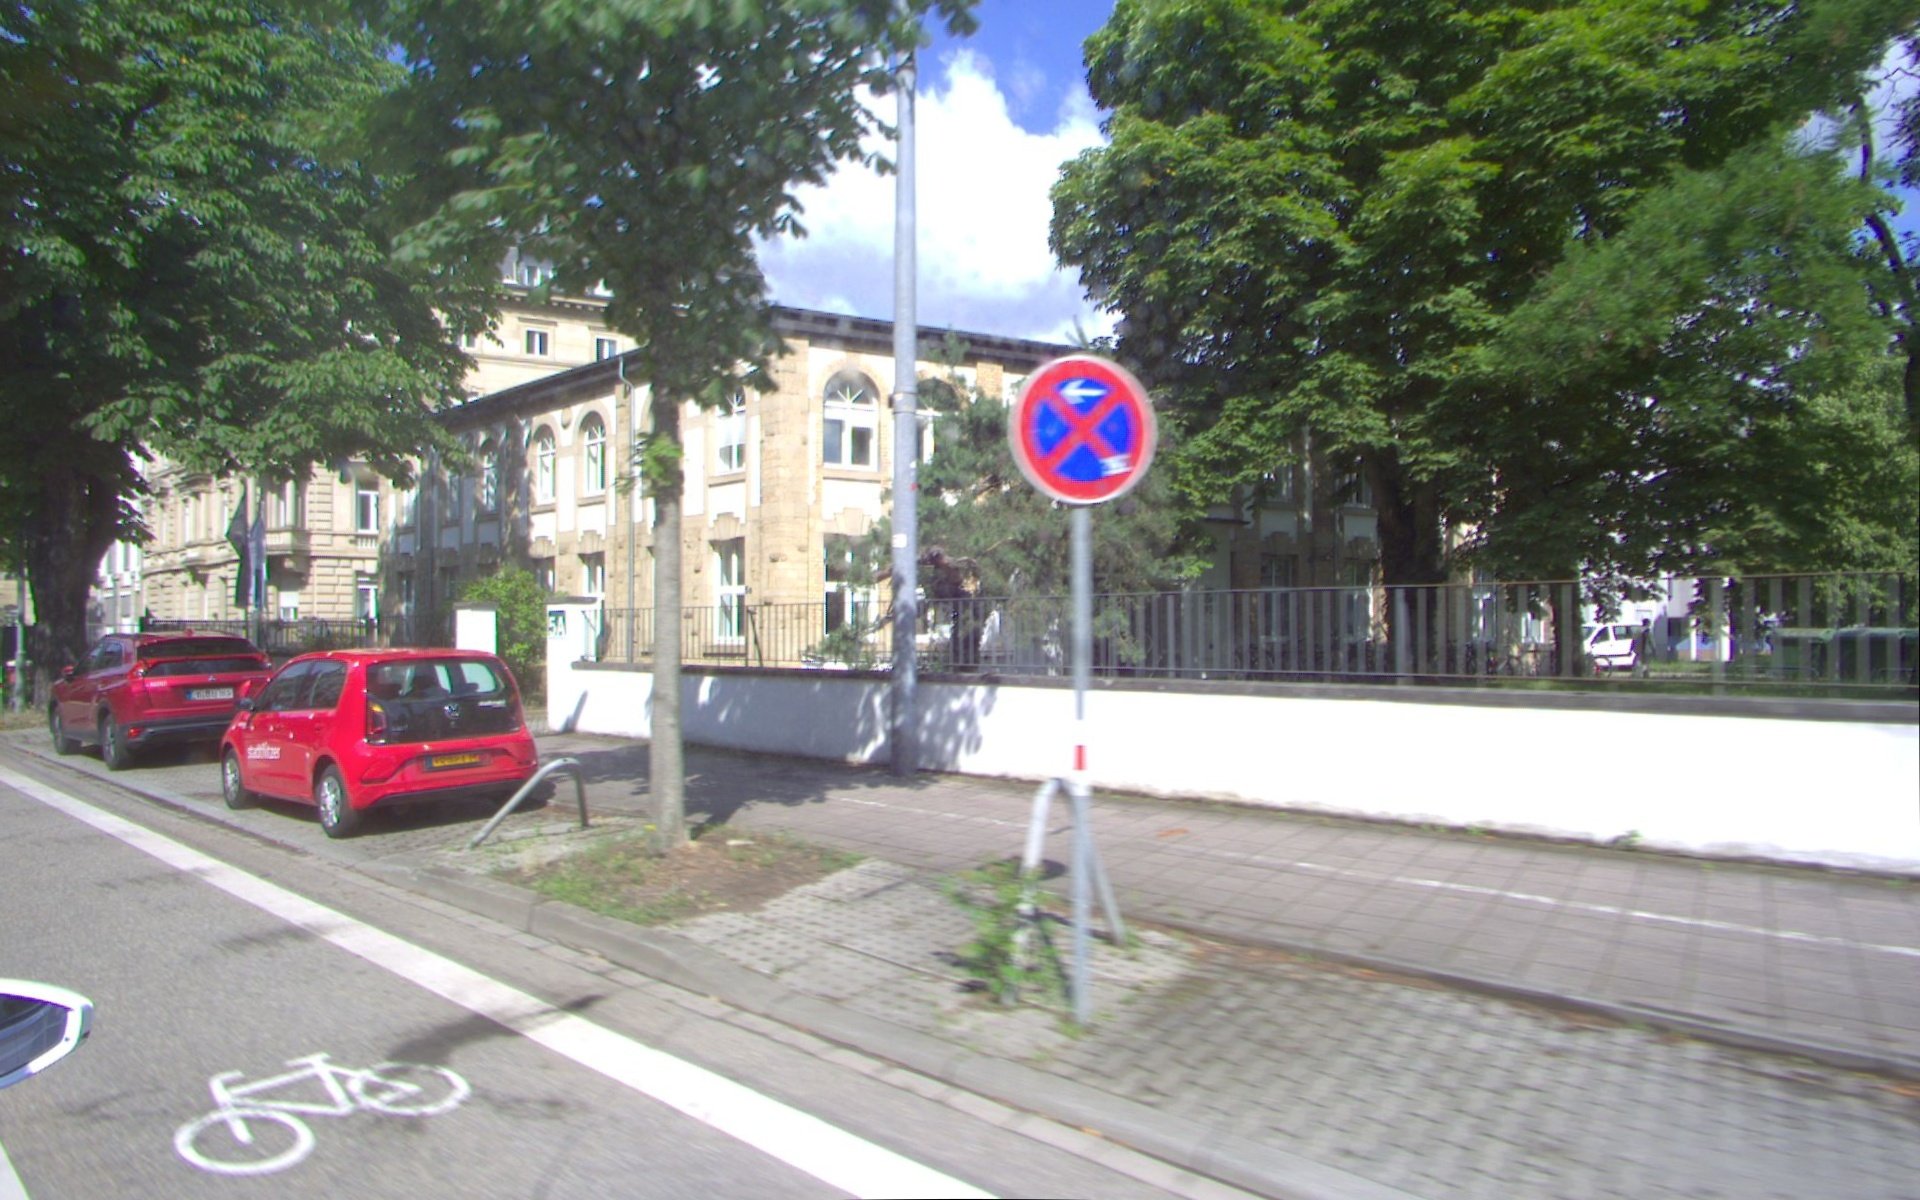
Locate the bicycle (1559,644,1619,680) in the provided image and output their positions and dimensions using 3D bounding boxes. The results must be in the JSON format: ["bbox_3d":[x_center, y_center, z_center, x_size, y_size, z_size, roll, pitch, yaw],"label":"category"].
[{"bbox_3d":[18.168,1.779,28.944,0.420,1.000,1.453,2,-2,-24],"label":"bicycle"}]

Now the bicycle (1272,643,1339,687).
[{"bbox_3d":[8.507,1.598,24.733,0.420,1.000,1.814,2,-2,-24],"label":"bicycle"}]

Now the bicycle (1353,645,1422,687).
[{"bbox_3d":[11.004,1.673,25.813,0.420,1.000,1.814,2,-2,-24],"label":"bicycle"}]

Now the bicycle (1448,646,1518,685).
[{"bbox_3d":[14.279,1.780,27.386,0.420,1.000,1.814,2,-2,-24],"label":"bicycle"}]

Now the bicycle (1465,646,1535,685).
[{"bbox_3d":[14.910,1.809,27.714,0.420,1.000,1.814,2,-2,-24],"label":"bicycle"}]

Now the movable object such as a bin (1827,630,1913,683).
[{"bbox_3d":[22.078,1.354,24.303,1.013,1.236,1.269,0,-1,-27],"label":"movable object such as a bin"}]

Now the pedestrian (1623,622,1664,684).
[{"bbox_3d":[18.261,1.411,26.758,0.845,1.644,0.567,1,-1,-27],"label":"pedestrian"}]

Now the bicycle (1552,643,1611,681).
[{"bbox_3d":[17.711,1.759,28.570,0.420,1.000,1.454,2,-2,-23],"label":"bicycle"}]

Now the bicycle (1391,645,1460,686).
[{"bbox_3d":[12.295,1.719,26.501,0.420,1.000,1.814,2,-2,-24],"label":"bicycle"}]

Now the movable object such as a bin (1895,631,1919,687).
[{"bbox_3d":[22.541,1.357,23.040,0.985,1.282,1.251,0,-1,-27],"label":"movable object such as a bin"}]

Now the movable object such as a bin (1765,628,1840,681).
[{"bbox_3d":[21.512,1.377,25.579,0.988,1.310,1.186,0,-1,-27],"label":"movable object such as a bin"}]

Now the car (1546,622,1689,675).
[{"bbox_3d":[25.806,1.871,39.299,5.005,1.888,2.033,1,2,-20],"label":"car"}]

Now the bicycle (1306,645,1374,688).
[{"bbox_3d":[9.533,1.653,25.163,0.420,1.000,1.814,2,-2,-24],"label":"bicycle"}]

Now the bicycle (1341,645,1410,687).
[{"bbox_3d":[10.559,1.666,25.511,0.420,1.000,1.814,2,-2,-24],"label":"bicycle"}]

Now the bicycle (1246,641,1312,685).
[{"bbox_3d":[7.767,1.527,24.448,0.420,1.000,1.814,2,-2,-24],"label":"bicycle"}]

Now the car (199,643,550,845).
[{"bbox_3d":[-5.508,1.165,9.284,3.552,1.447,1.593,-2,0,38],"label":"car"}]

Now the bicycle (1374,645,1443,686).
[{"bbox_3d":[11.673,1.692,26.117,0.420,1.000,1.814,2,-2,-24],"label":"bicycle"}]

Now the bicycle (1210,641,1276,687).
[{"bbox_3d":[6.721,1.511,23.851,0.420,1.000,1.814,2,-2,-24],"label":"bicycle"}]

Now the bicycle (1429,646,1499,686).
[{"bbox_3d":[13.560,1.756,26.978,0.420,1.000,1.814,2,-2,-24],"label":"bicycle"}]

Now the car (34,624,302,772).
[{"bbox_3d":[-10.901,1.209,13.694,4.227,1.698,1.869,-2,-1,37],"label":"car"}]
